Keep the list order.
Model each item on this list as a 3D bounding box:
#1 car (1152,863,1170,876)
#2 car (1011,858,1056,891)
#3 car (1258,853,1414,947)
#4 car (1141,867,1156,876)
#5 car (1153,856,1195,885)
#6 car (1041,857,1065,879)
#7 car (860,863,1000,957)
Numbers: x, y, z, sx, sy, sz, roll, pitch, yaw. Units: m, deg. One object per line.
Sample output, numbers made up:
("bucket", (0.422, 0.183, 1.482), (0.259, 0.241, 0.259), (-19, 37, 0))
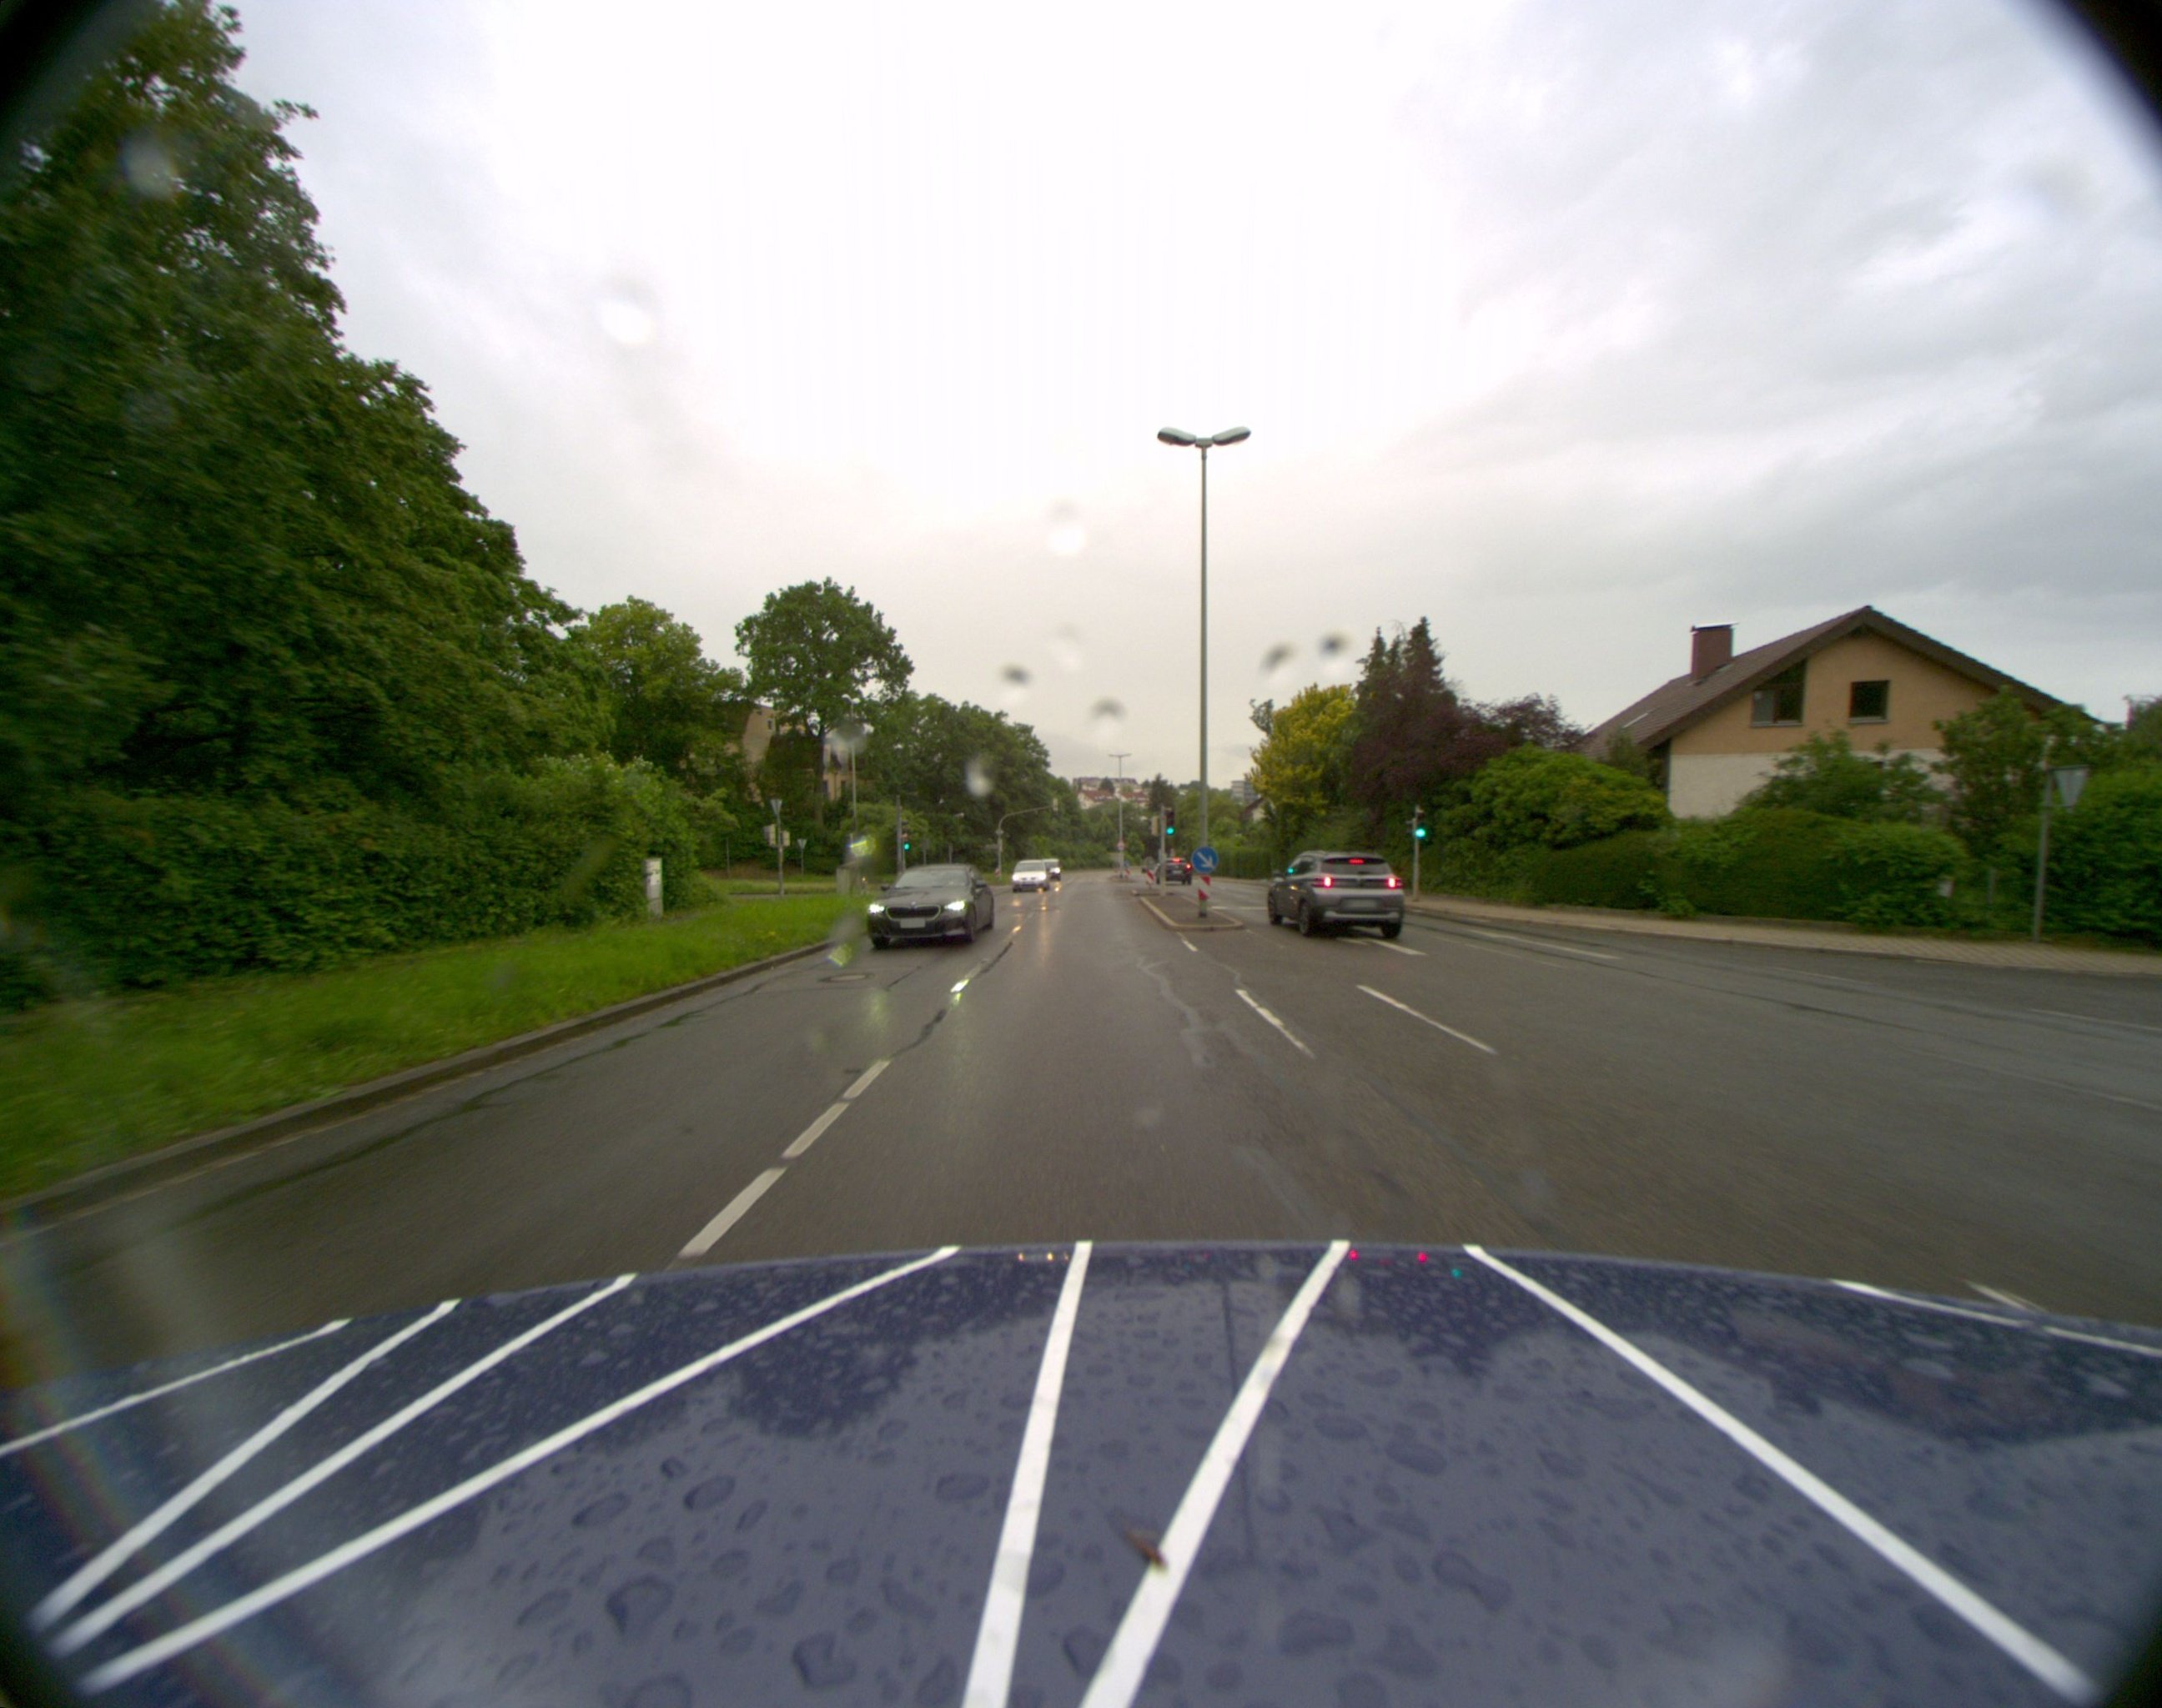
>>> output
("car", (9.674, 1.884, 91.739), (1.732, 1.476, 4.157), (1, 0, 1))
("car", (-2.320, 0.967, 37.955), (1.814, 1.546, 4.120), (1, 0, 2))
("car", (4.839, 0.798, 14.995), (1.799, 1.593, 3.731), (1, 0, 0))
("car", (11.327, 2.871, 127.045), (1.865, 1.483, 3.839), (0, -1, 16))
("car", (5.454, 0.944, 44.794), (2.030, 1.554, 3.877), (1, 0, 1))
("car", (-2.271, 1.124, 62.622), (1.814, 1.797, 4.119), (1, 0, 0))
("car", (-2.851, 1.001, 15.283), (1.867, 1.546, 4.119), (1, 1, 2))
